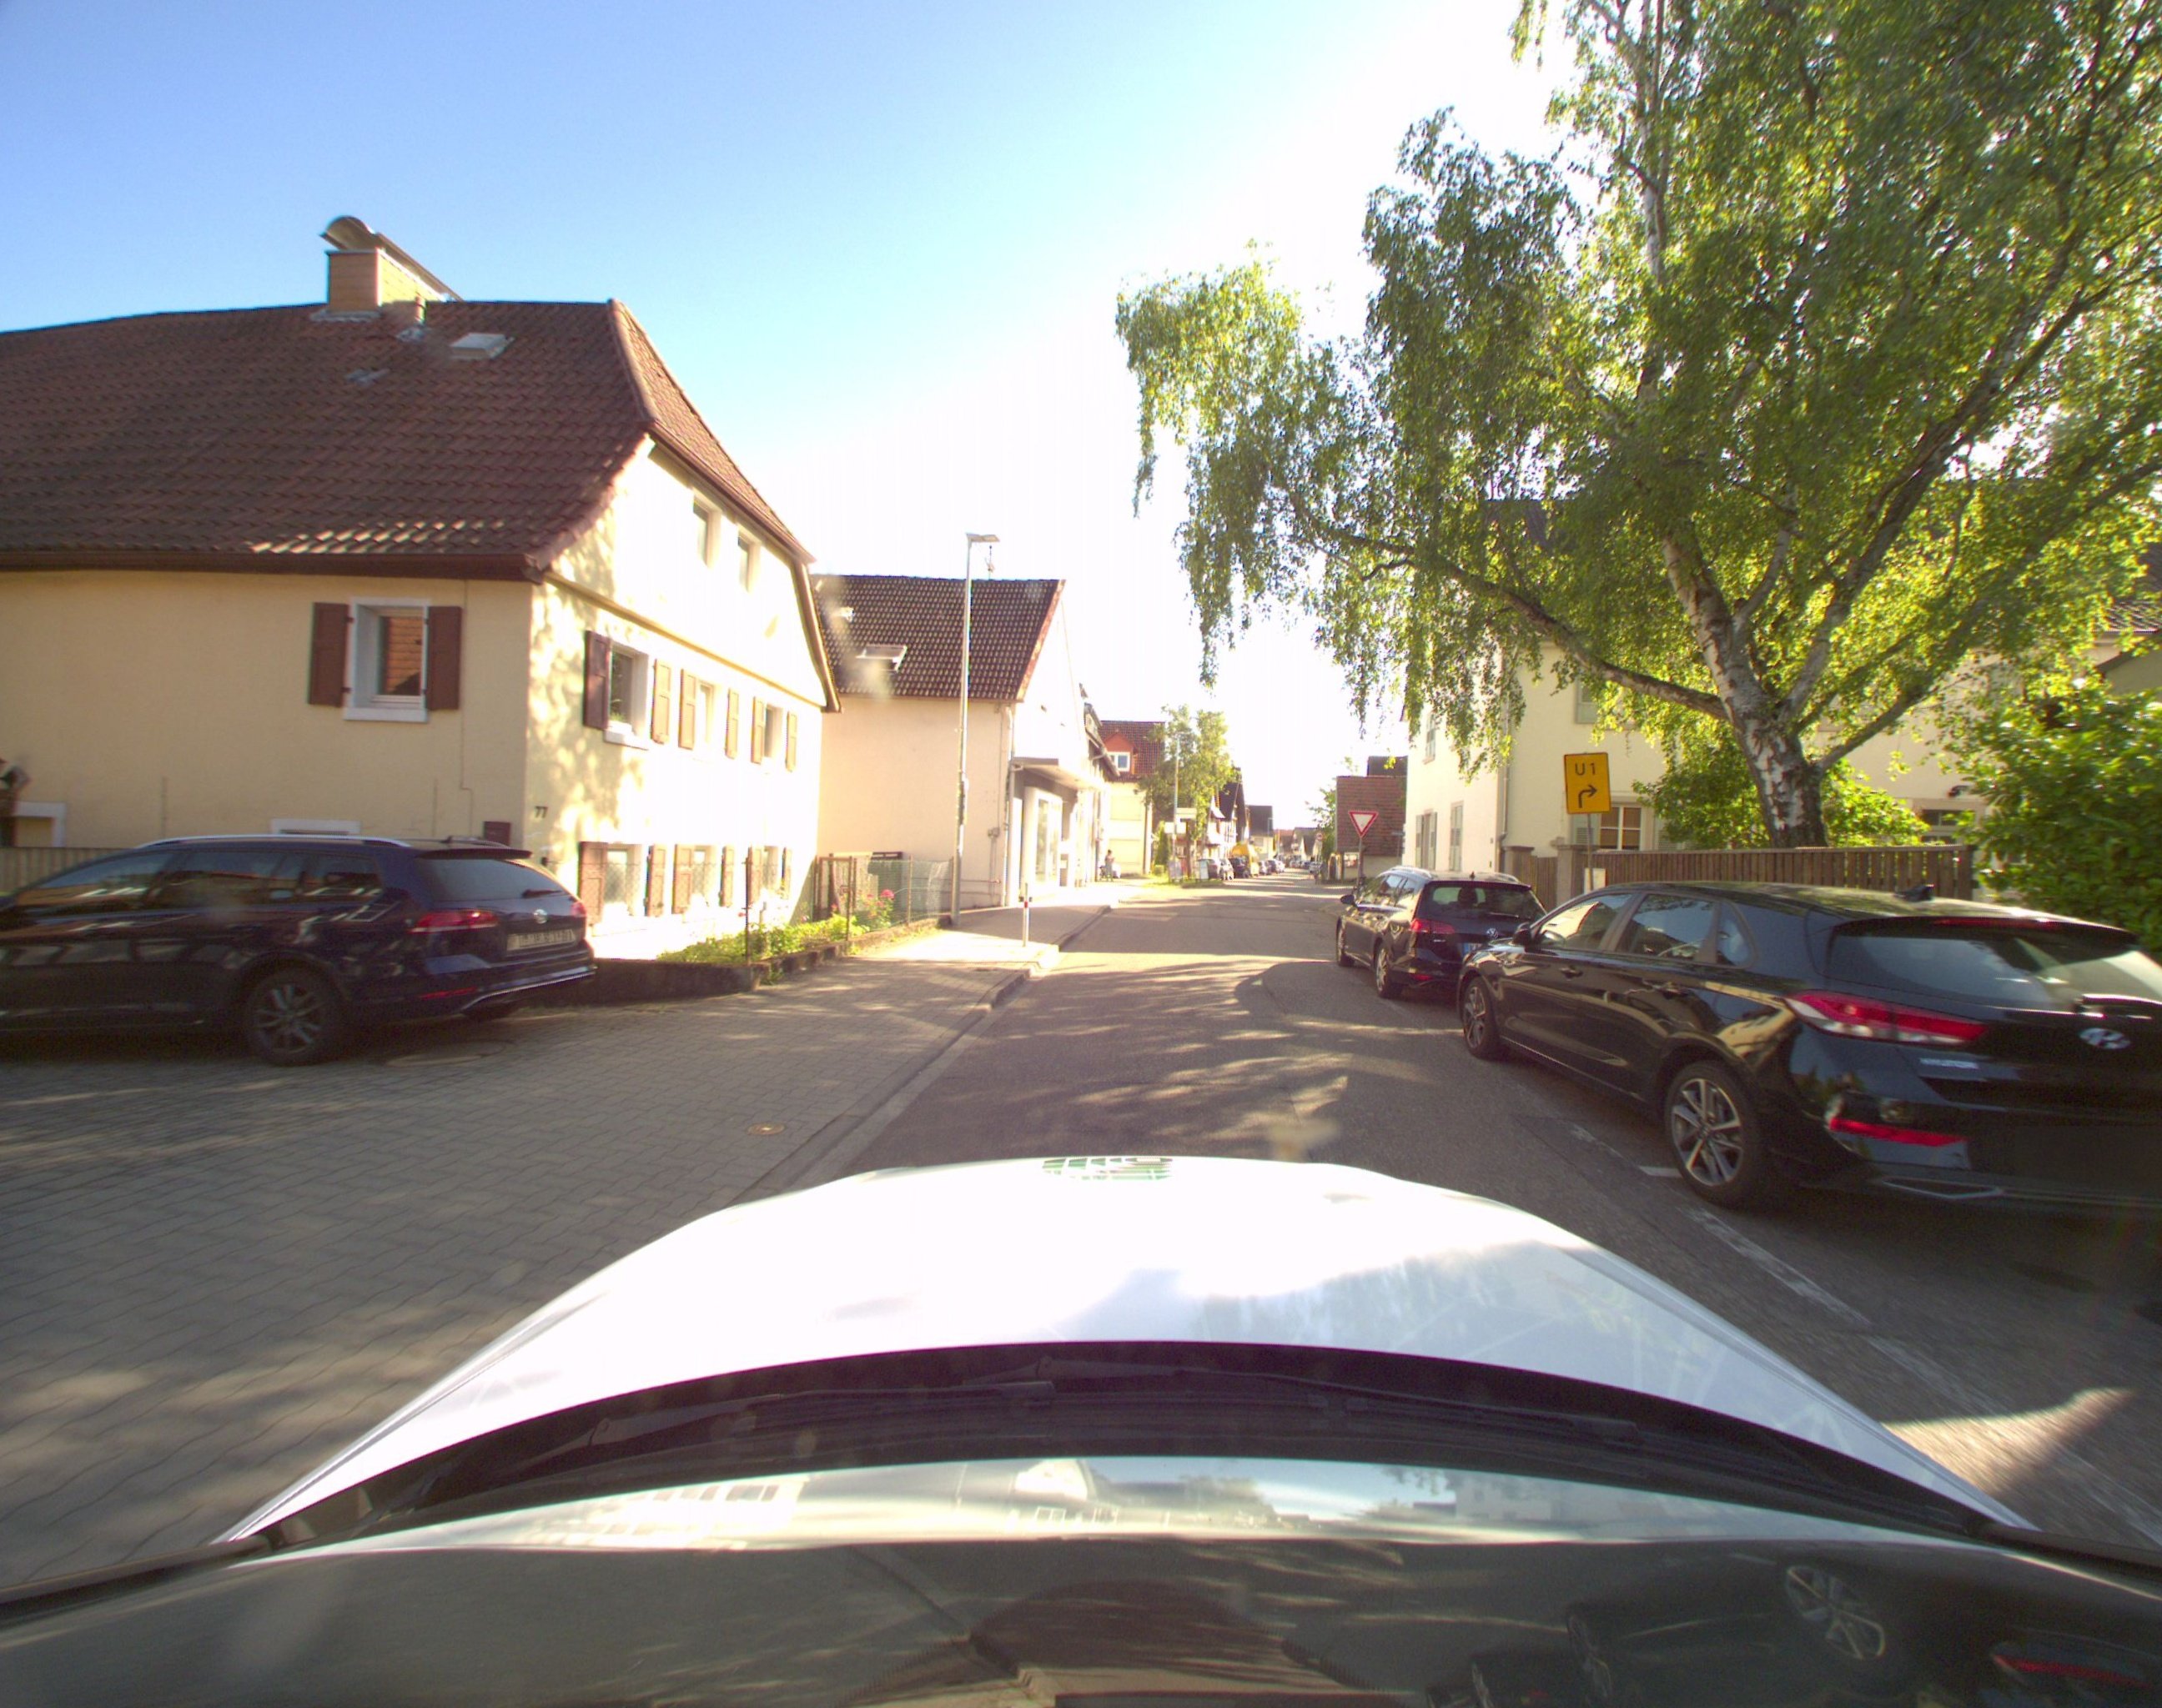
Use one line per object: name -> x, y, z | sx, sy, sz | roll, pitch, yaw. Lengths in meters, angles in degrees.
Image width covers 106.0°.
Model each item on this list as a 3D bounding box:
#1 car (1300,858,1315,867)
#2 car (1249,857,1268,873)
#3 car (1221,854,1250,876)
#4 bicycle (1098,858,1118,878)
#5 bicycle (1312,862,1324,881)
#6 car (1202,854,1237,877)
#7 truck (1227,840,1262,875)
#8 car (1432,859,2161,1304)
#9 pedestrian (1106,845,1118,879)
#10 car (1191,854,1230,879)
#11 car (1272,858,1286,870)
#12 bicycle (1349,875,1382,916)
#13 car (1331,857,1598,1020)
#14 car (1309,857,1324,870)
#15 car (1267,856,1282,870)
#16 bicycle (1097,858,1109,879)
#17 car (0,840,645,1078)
car -> 43.337, 1.650, 156.037 | 1.965, 1.583, 3.998 | 2, 0, 3
car -> 17.318, 1.088, 79.421 | 1.633, 1.432, 3.629 | 2, 0, 15
car -> 12.442, 0.882, 65.566 | 1.792, 1.622, 3.898 | 2, 0, 17
bicycle -> 1.518, 0.794, 45.145 | 0.574, 1.052, 2.044 | 1, -1, 16
bicycle -> 15.393, 1.107, 52.834 | 0.429, 1.176, 1.839 | 1, 0, 25
car -> 9.751, 0.818, 57.004 | 1.792, 1.505, 4.126 | 2, 0, 17
truck -> 14.284, 0.364, 70.860 | 2.250, 2.868, 5.808 | 2, 0, 17
car -> 3.819, 0.817, 4.976 | 1.799, 1.436, 4.292 | 2, 1, 5
pedestrian -> 1.591, 0.424, 41.841 | 0.480, 1.693, 0.558 | 2, -2, 12
car -> 8.438, 0.782, 52.792 | 1.853, 1.505, 4.126 | 2, 0, 17
car -> 24.092, 1.212, 98.961 | 1.576, 1.442, 3.629 | 2, 0, 15
bicycle -> 8.205, 1.177, 23.568 | 0.433, 1.080, 1.892 | 1, 0, 4
car -> 4.326, 0.807, 9.966 | 1.797, 1.436, 4.297 | 2, 1, 9
car -> 33.068, 1.306, 114.371 | 1.959, 1.714, 4.010 | 2, 0, 15
car -> 21.857, 1.031, 92.007 | 1.576, 1.442, 3.629 | 2, 0, 15
bicycle -> 1.139, 0.759, 41.740 | 0.420, 1.052, 1.385 | 1, -1, 9
car -> -5.813, 0.661, 6.028 | 4.142, 1.462, 1.850 | -1, 0, 2
